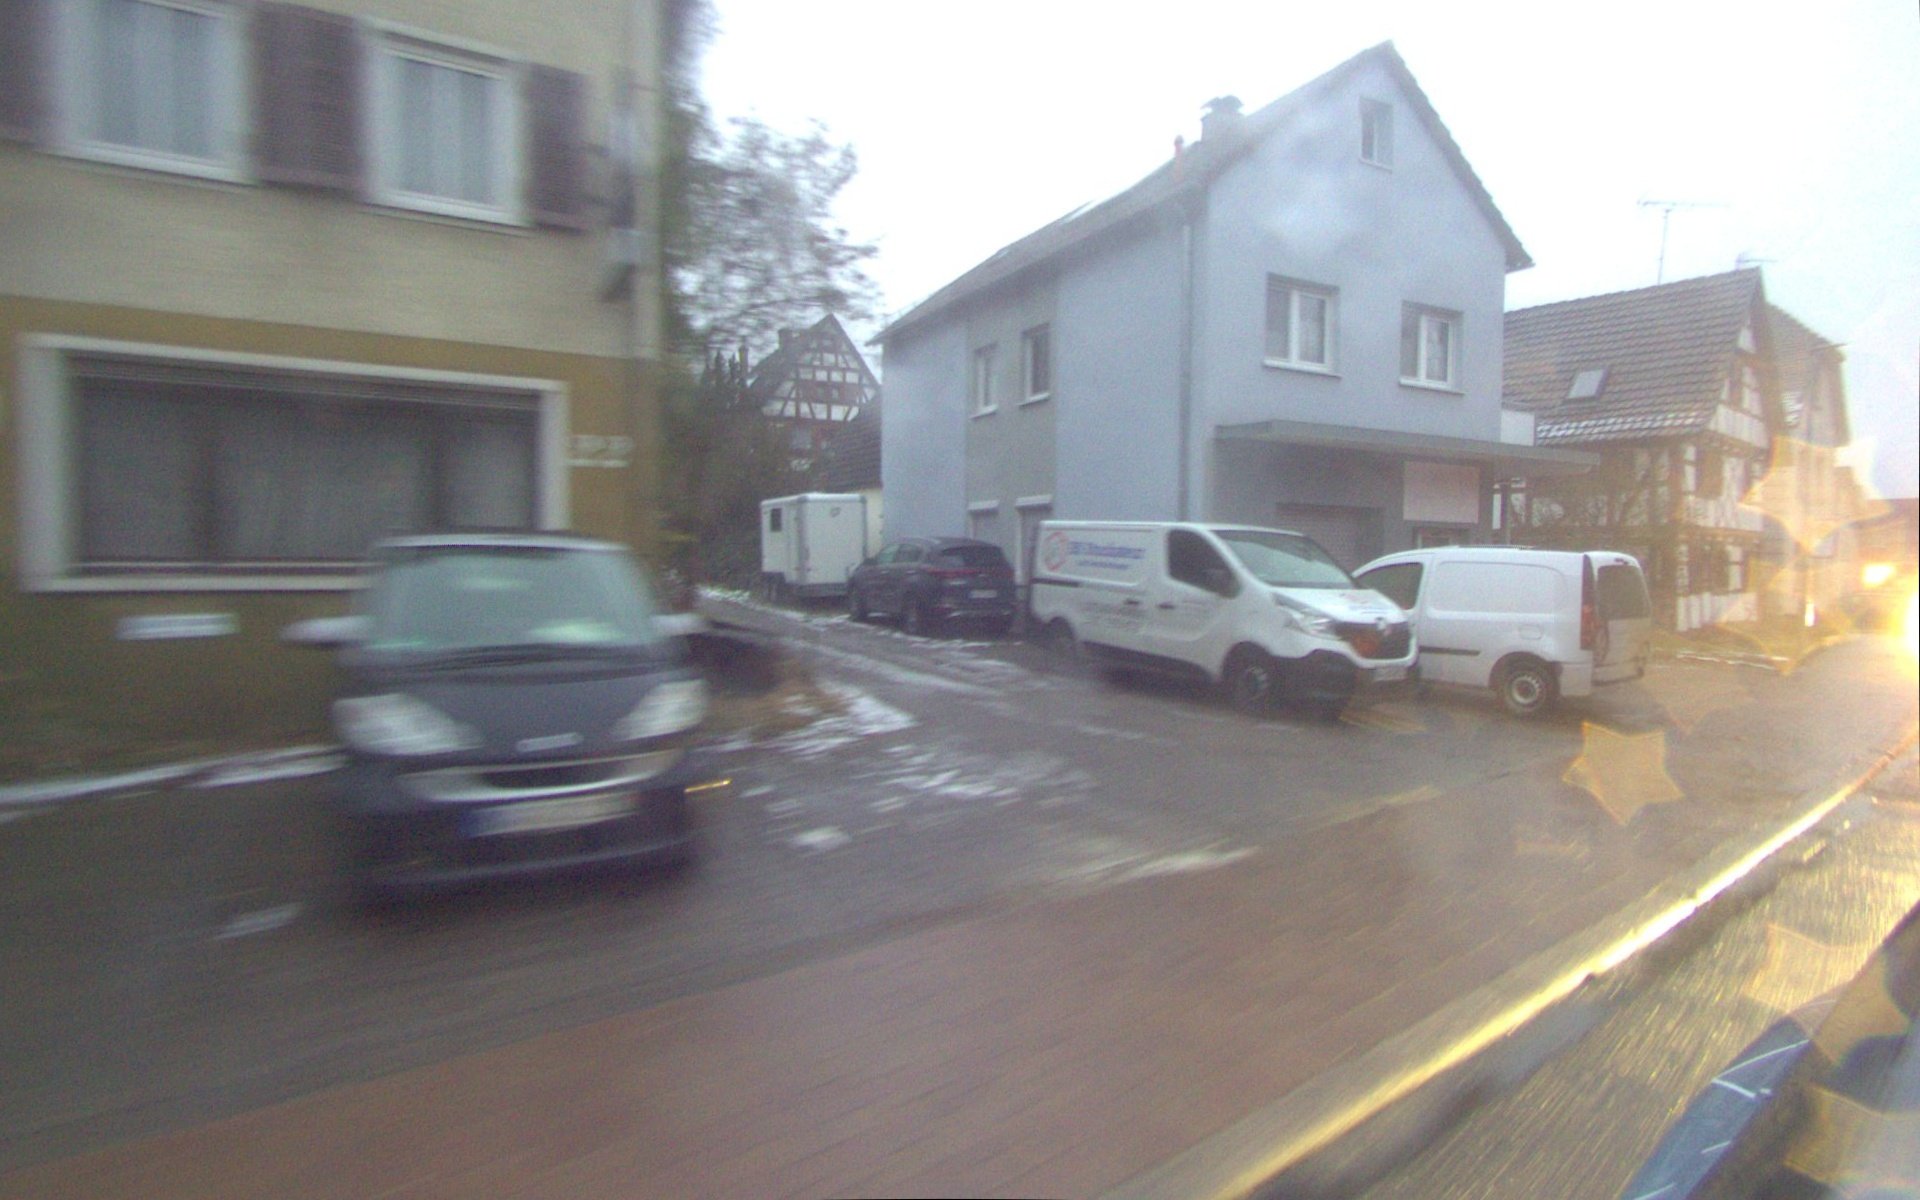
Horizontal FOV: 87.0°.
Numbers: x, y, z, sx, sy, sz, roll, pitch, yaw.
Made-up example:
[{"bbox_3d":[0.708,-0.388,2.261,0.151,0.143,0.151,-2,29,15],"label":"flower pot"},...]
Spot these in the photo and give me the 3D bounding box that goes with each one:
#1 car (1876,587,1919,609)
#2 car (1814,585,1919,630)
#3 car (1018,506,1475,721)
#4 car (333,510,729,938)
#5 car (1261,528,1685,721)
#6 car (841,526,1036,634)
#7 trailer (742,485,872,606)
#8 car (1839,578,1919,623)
[{"bbox_3d":[54.889,-0.084,57.696,1.526,1.141,3.881,0,2,-44],"label":"car"},{"bbox_3d":[37.761,0.297,41.699,3.839,1.648,1.588,4,2,41],"label":"car"},{"bbox_3d":[2.908,-0.031,11.586,1.899,1.912,5.003,1,3,-32],"label":"car"},{"bbox_3d":[-2.295,0.356,5.061,1.399,1.492,2.776,0,3,-31],"label":"car"},{"bbox_3d":[5.860,0.114,12.034,1.829,1.865,4.056,-1,4,-36],"label":"car"},{"bbox_3d":[-0.513,-0.444,18.178,1.842,1.641,4.009,0,5,-28],"label":"car"},{"bbox_3d":[-3.706,-1.369,23.829,1.802,2.546,4.011,0,6,-27],"label":"trailer"},{"bbox_3d":[41.833,0.029,45.123,3.874,1.900,1.842,3,2,41],"label":"car"}]
